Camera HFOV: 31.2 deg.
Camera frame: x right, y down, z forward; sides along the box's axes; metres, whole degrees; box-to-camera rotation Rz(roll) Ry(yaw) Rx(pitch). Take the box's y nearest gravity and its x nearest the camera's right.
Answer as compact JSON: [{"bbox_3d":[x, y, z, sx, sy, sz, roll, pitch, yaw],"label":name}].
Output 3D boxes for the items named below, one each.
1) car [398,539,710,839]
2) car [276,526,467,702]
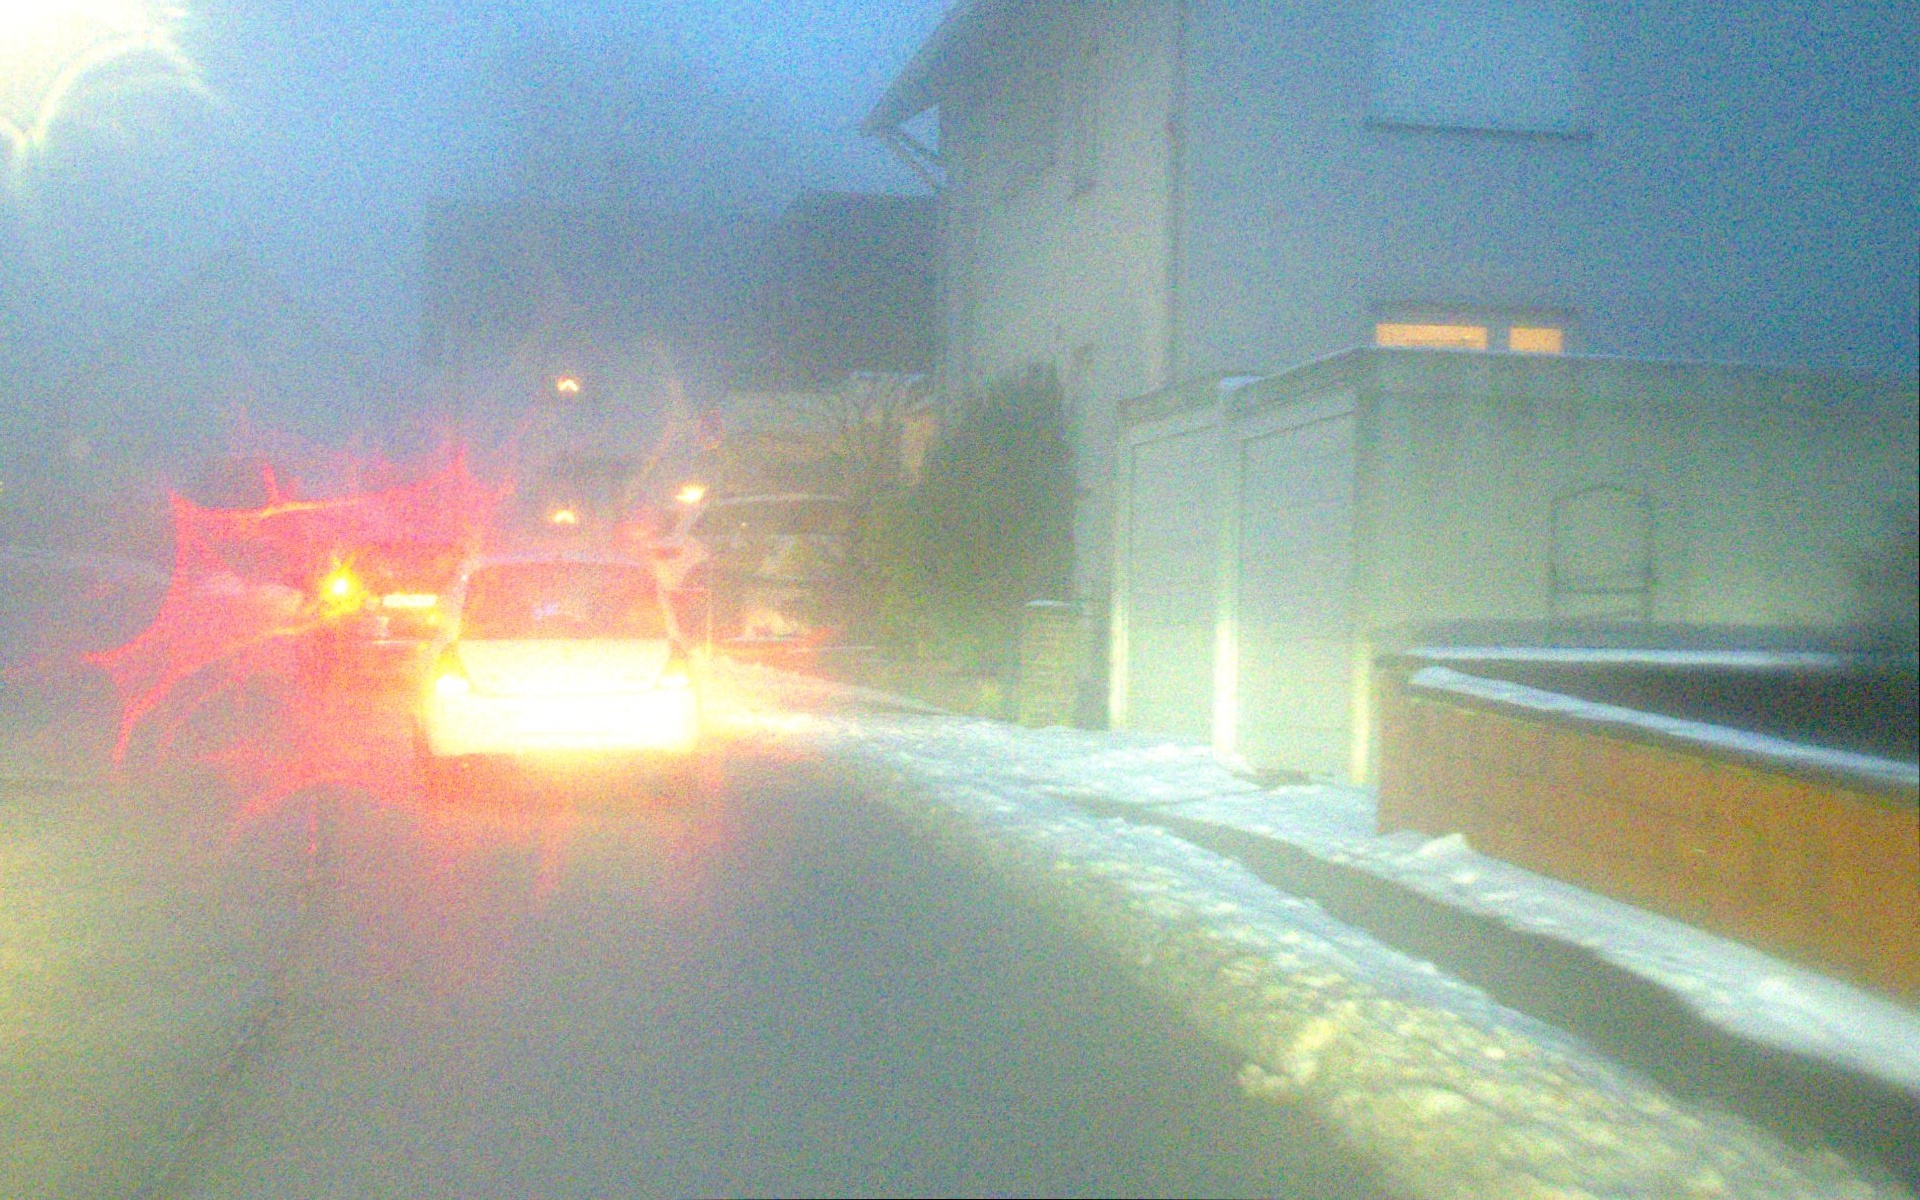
[{"bbox_3d":[-2.534,0.514,20.867,1.645,1.590,3.700,3,-1,-9],"label":"car"},{"bbox_3d":[-5.930,0.148,34.385,1.645,1.590,3.700,3,-1,-12],"label":"car"}]
